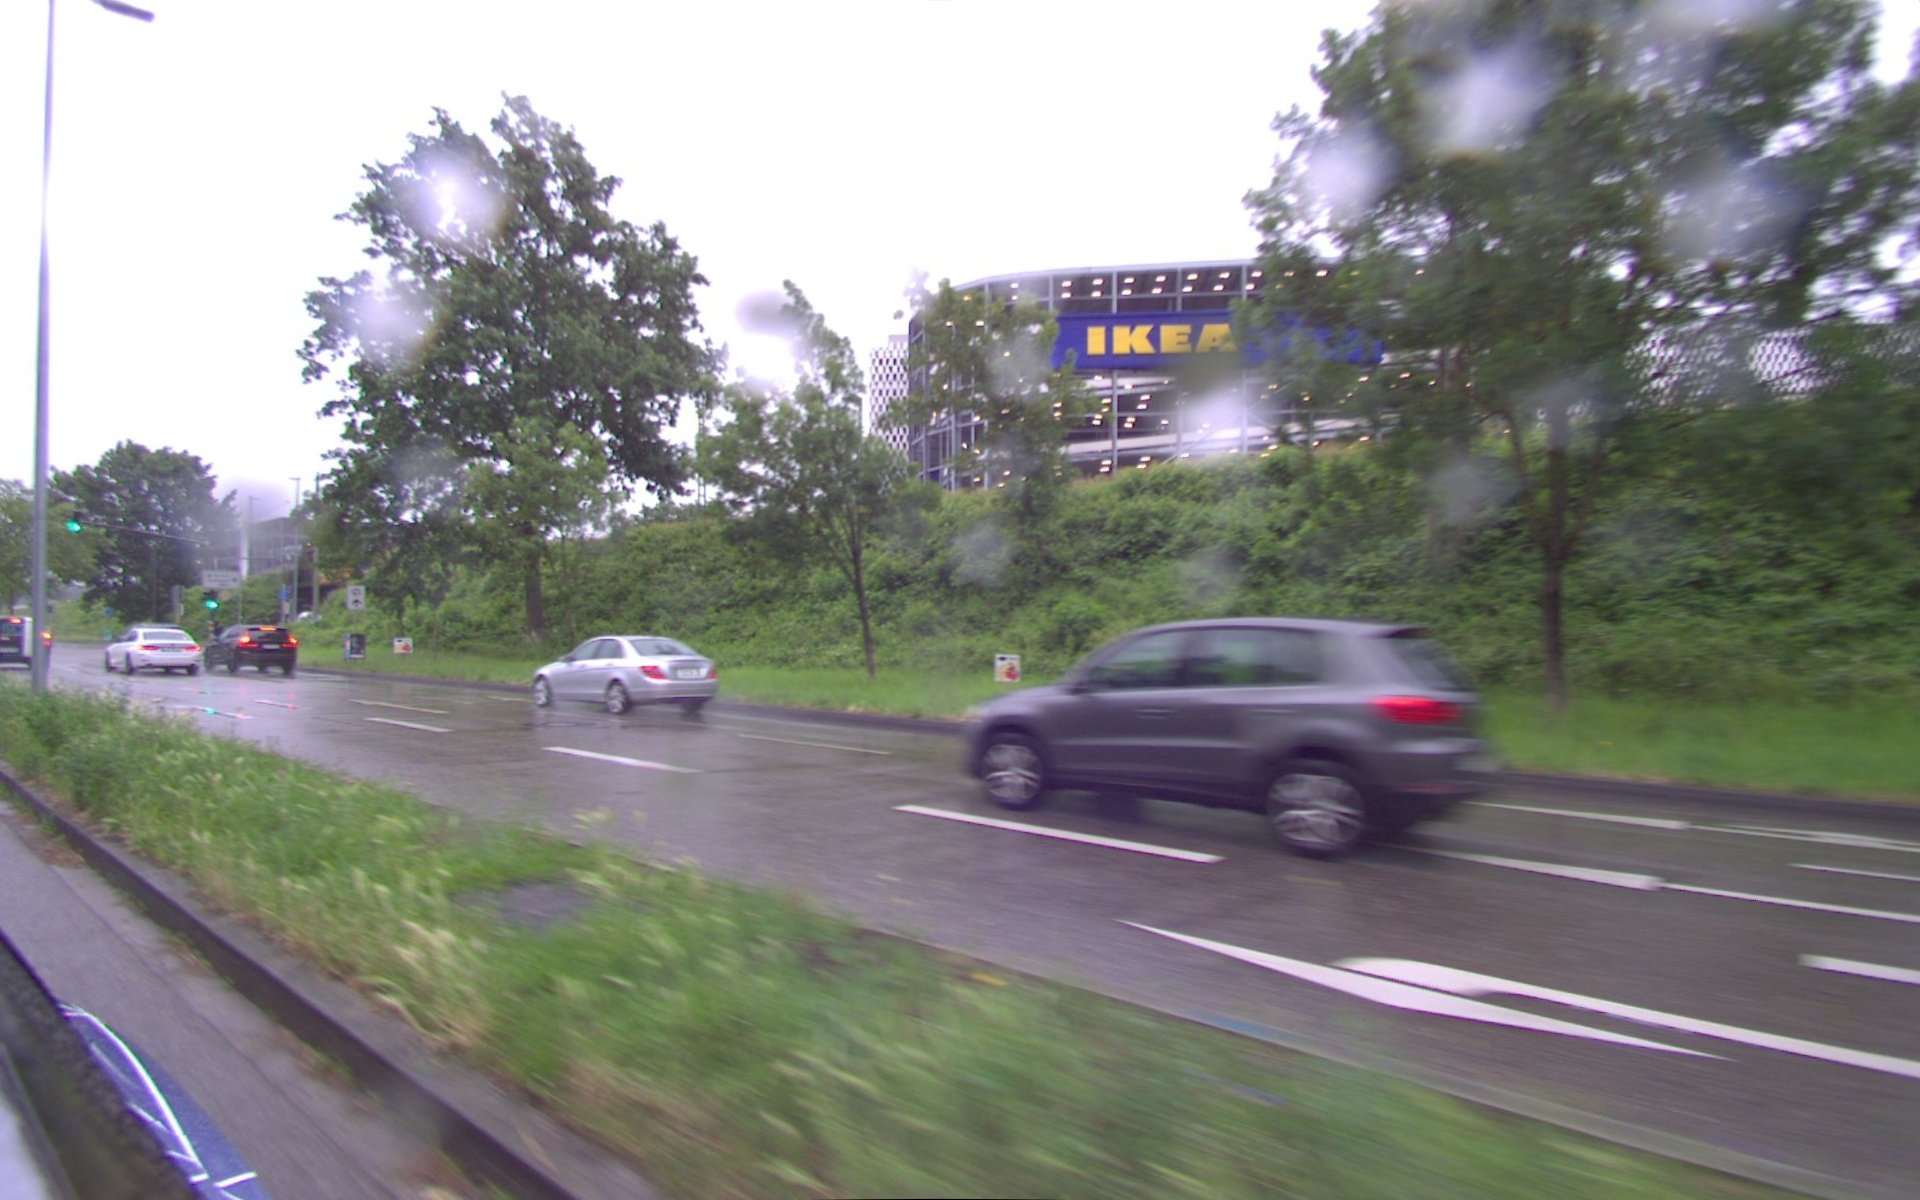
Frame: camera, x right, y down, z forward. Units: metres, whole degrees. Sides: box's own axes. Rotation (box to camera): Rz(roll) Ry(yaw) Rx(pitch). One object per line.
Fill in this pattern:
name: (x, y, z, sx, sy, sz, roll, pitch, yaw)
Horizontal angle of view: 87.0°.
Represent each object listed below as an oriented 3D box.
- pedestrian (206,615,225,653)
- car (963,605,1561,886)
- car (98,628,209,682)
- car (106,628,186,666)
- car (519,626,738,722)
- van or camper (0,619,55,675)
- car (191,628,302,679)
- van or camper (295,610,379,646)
pedestrian: (-35.974, 1.647, 48.899, 0.625, 1.801, 0.480, -1, -2, 32)
car: (2.186, 0.939, 7.987, 4.110, 1.625, 1.878, -2, -5, 42)
car: (-26.254, 1.764, 32.902, 4.708, 1.625, 1.879, -1, -4, 40)
car: (-36.011, 2.051, 44.721, 4.401, 1.625, 1.879, -1, -3, 40)
car: (-6.391, 1.323, 19.303, 4.474, 1.625, 1.879, -1, -3, 40)
van or camper: (-31.386, 1.520, 33.342, 3.996, 1.755, 1.711, -1, -4, 40)
car: (-25.159, 1.850, 35.623, 4.674, 1.673, 2.017, -1, -3, 40)
van or camper: (-49.874, 2.266, 81.292, 1.975, 2.682, 6.917, 0, -2, 5)
